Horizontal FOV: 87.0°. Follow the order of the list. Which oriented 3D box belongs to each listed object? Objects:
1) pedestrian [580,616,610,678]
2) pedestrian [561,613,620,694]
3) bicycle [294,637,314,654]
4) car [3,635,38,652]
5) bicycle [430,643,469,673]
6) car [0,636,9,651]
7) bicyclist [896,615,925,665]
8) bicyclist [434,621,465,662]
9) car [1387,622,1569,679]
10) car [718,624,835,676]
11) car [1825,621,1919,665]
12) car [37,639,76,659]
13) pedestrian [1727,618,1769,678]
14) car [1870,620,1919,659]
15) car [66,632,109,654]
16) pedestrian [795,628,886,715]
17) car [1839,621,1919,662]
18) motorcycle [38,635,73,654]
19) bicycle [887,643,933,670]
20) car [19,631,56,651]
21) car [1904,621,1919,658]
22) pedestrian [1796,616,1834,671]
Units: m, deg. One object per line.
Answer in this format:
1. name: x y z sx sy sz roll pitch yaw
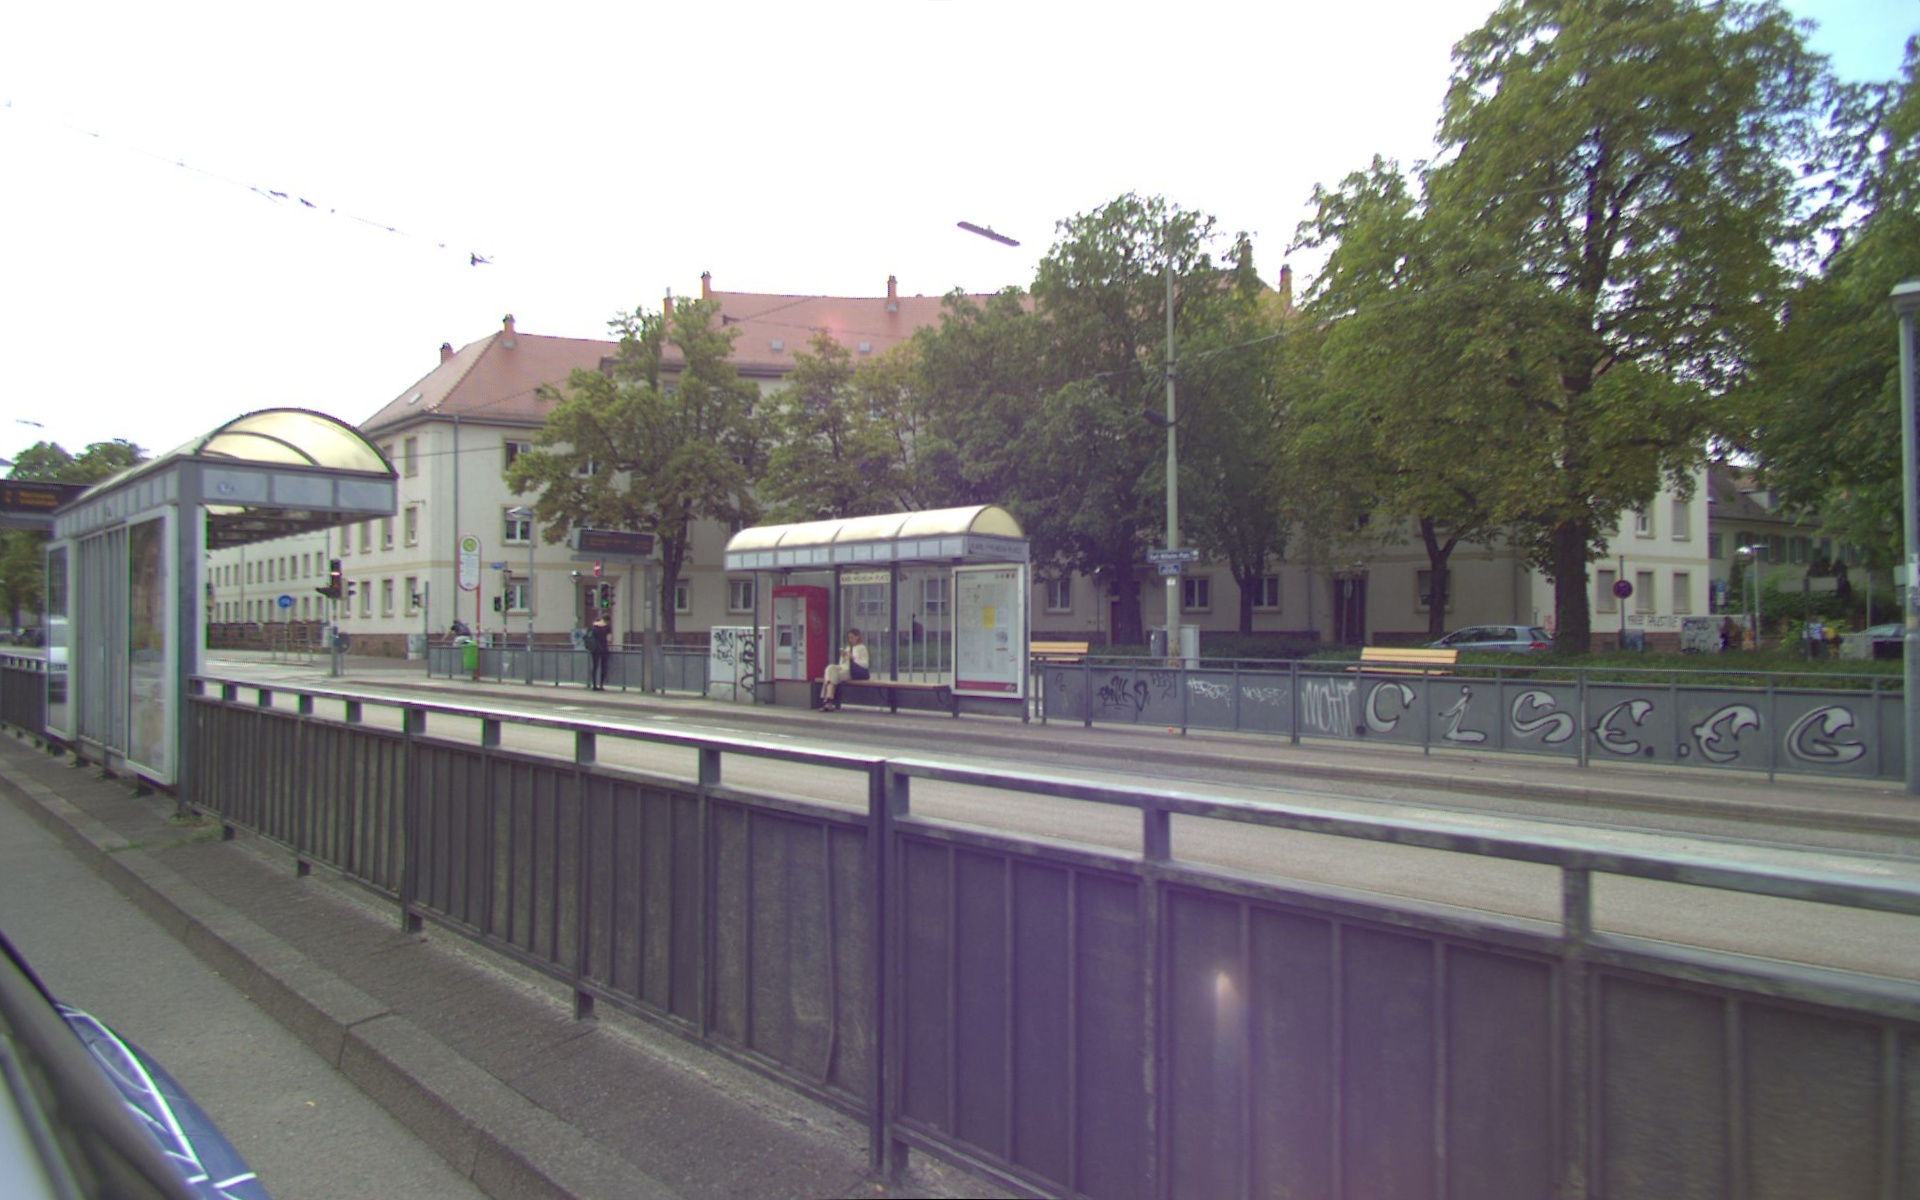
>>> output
1. pedestrian: -11.374 1.459 31.508 0.720 1.915 0.838 1 -2 -31
2. pedestrian: -7.748 1.109 21.240 0.841 1.633 0.844 -1 -2 36
3. bicycle: -36.510 2.525 56.326 1.671 0.922 0.472 -2 -3 41
4. car: -83.313 3.880 89.726 4.295 1.482 1.680 -2 -3 39
5. bicycle: -17.375 1.957 34.429 1.549 0.956 0.654 -2 -2 41
6. car: -97.833 4.422 102.462 4.295 1.482 1.680 -2 -2 39
7. bicyclist: -1.784 1.450 36.428 0.902 1.789 0.609 -1 -2 13
8. bicyclist: -17.376 1.410 34.451 0.835 1.350 0.654 -2 -2 41
9. car: 15.435 1.461 30.313 2.178 1.590 4.353 1 -2 -42
10. car: -6.773 1.825 37.495 4.092 1.734 1.844 2 -1 -9
11. car: 31.695 1.413 33.672 1.784 1.406 4.013 1 -2 -27
12. car: -67.735 3.655 75.833 4.297 1.434 1.679 -2 -1 41
13. pedestrian: 23.582 1.422 30.280 0.740 1.767 0.735 1 -2 -31
14. car: 35.706 1.425 36.426 1.784 1.406 4.013 1 -2 -27
15. car: -61.240 2.993 71.015 4.297 1.434 1.679 -2 0 41
16. pedestrian: -1.866 1.094 15.852 0.984 1.303 1.049 -1 -2 36
17. car: 33.504 1.423 35.209 1.784 1.406 4.013 1 -2 -27
18. motorcycle: -70.482 3.471 78.875 0.591 1.269 1.850 -2 3 37
19. bicycle: -1.795 2.031 36.409 1.561 0.944 0.605 -1 -2 14
20. car: -76.369 3.415 83.761 4.297 1.624 1.767 -2 -3 41
21. car: 38.090 1.483 37.583 1.784 1.406 4.013 1 -2 -27
22. pedestrian: 28.031 1.427 33.178 0.720 1.767 0.685 1 -2 -28
